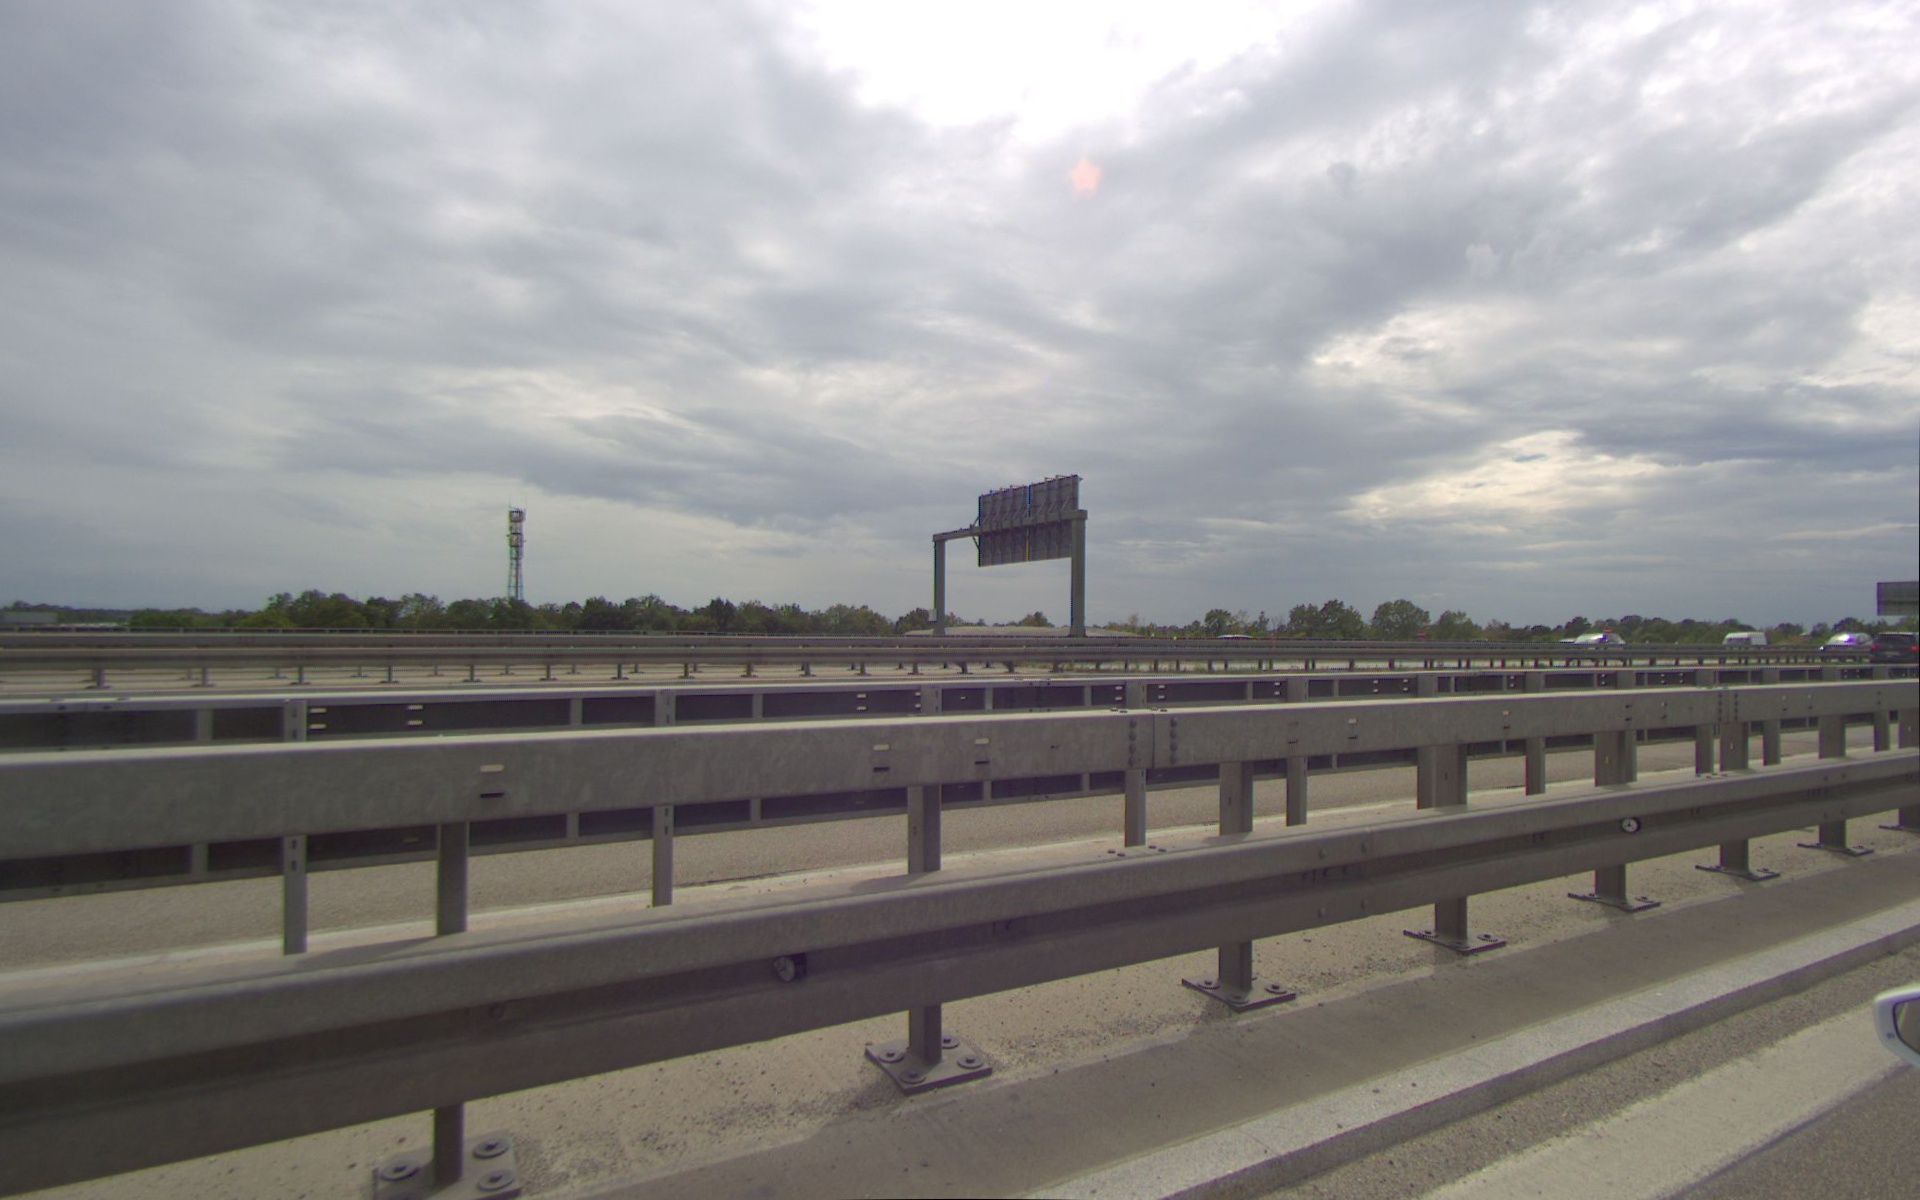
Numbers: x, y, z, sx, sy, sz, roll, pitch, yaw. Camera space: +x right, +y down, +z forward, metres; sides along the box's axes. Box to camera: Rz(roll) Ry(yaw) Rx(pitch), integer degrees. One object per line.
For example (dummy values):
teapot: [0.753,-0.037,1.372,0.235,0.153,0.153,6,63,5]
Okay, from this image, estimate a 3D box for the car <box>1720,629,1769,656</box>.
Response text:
car: [70.385,3.783,90.076,4.437,2.337,1.984,1,0,-30]

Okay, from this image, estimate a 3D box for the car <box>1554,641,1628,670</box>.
car: [35.160,3.078,55.924,4.279,1.441,1.697,1,0,-30]

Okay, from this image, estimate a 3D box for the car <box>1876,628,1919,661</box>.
car: [55.983,2.613,59.096,3.950,1.818,1.902,1,0,-29]

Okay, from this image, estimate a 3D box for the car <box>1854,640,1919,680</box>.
car: [41.278,2.604,43.988,4.561,1.567,1.871,1,0,-31]
